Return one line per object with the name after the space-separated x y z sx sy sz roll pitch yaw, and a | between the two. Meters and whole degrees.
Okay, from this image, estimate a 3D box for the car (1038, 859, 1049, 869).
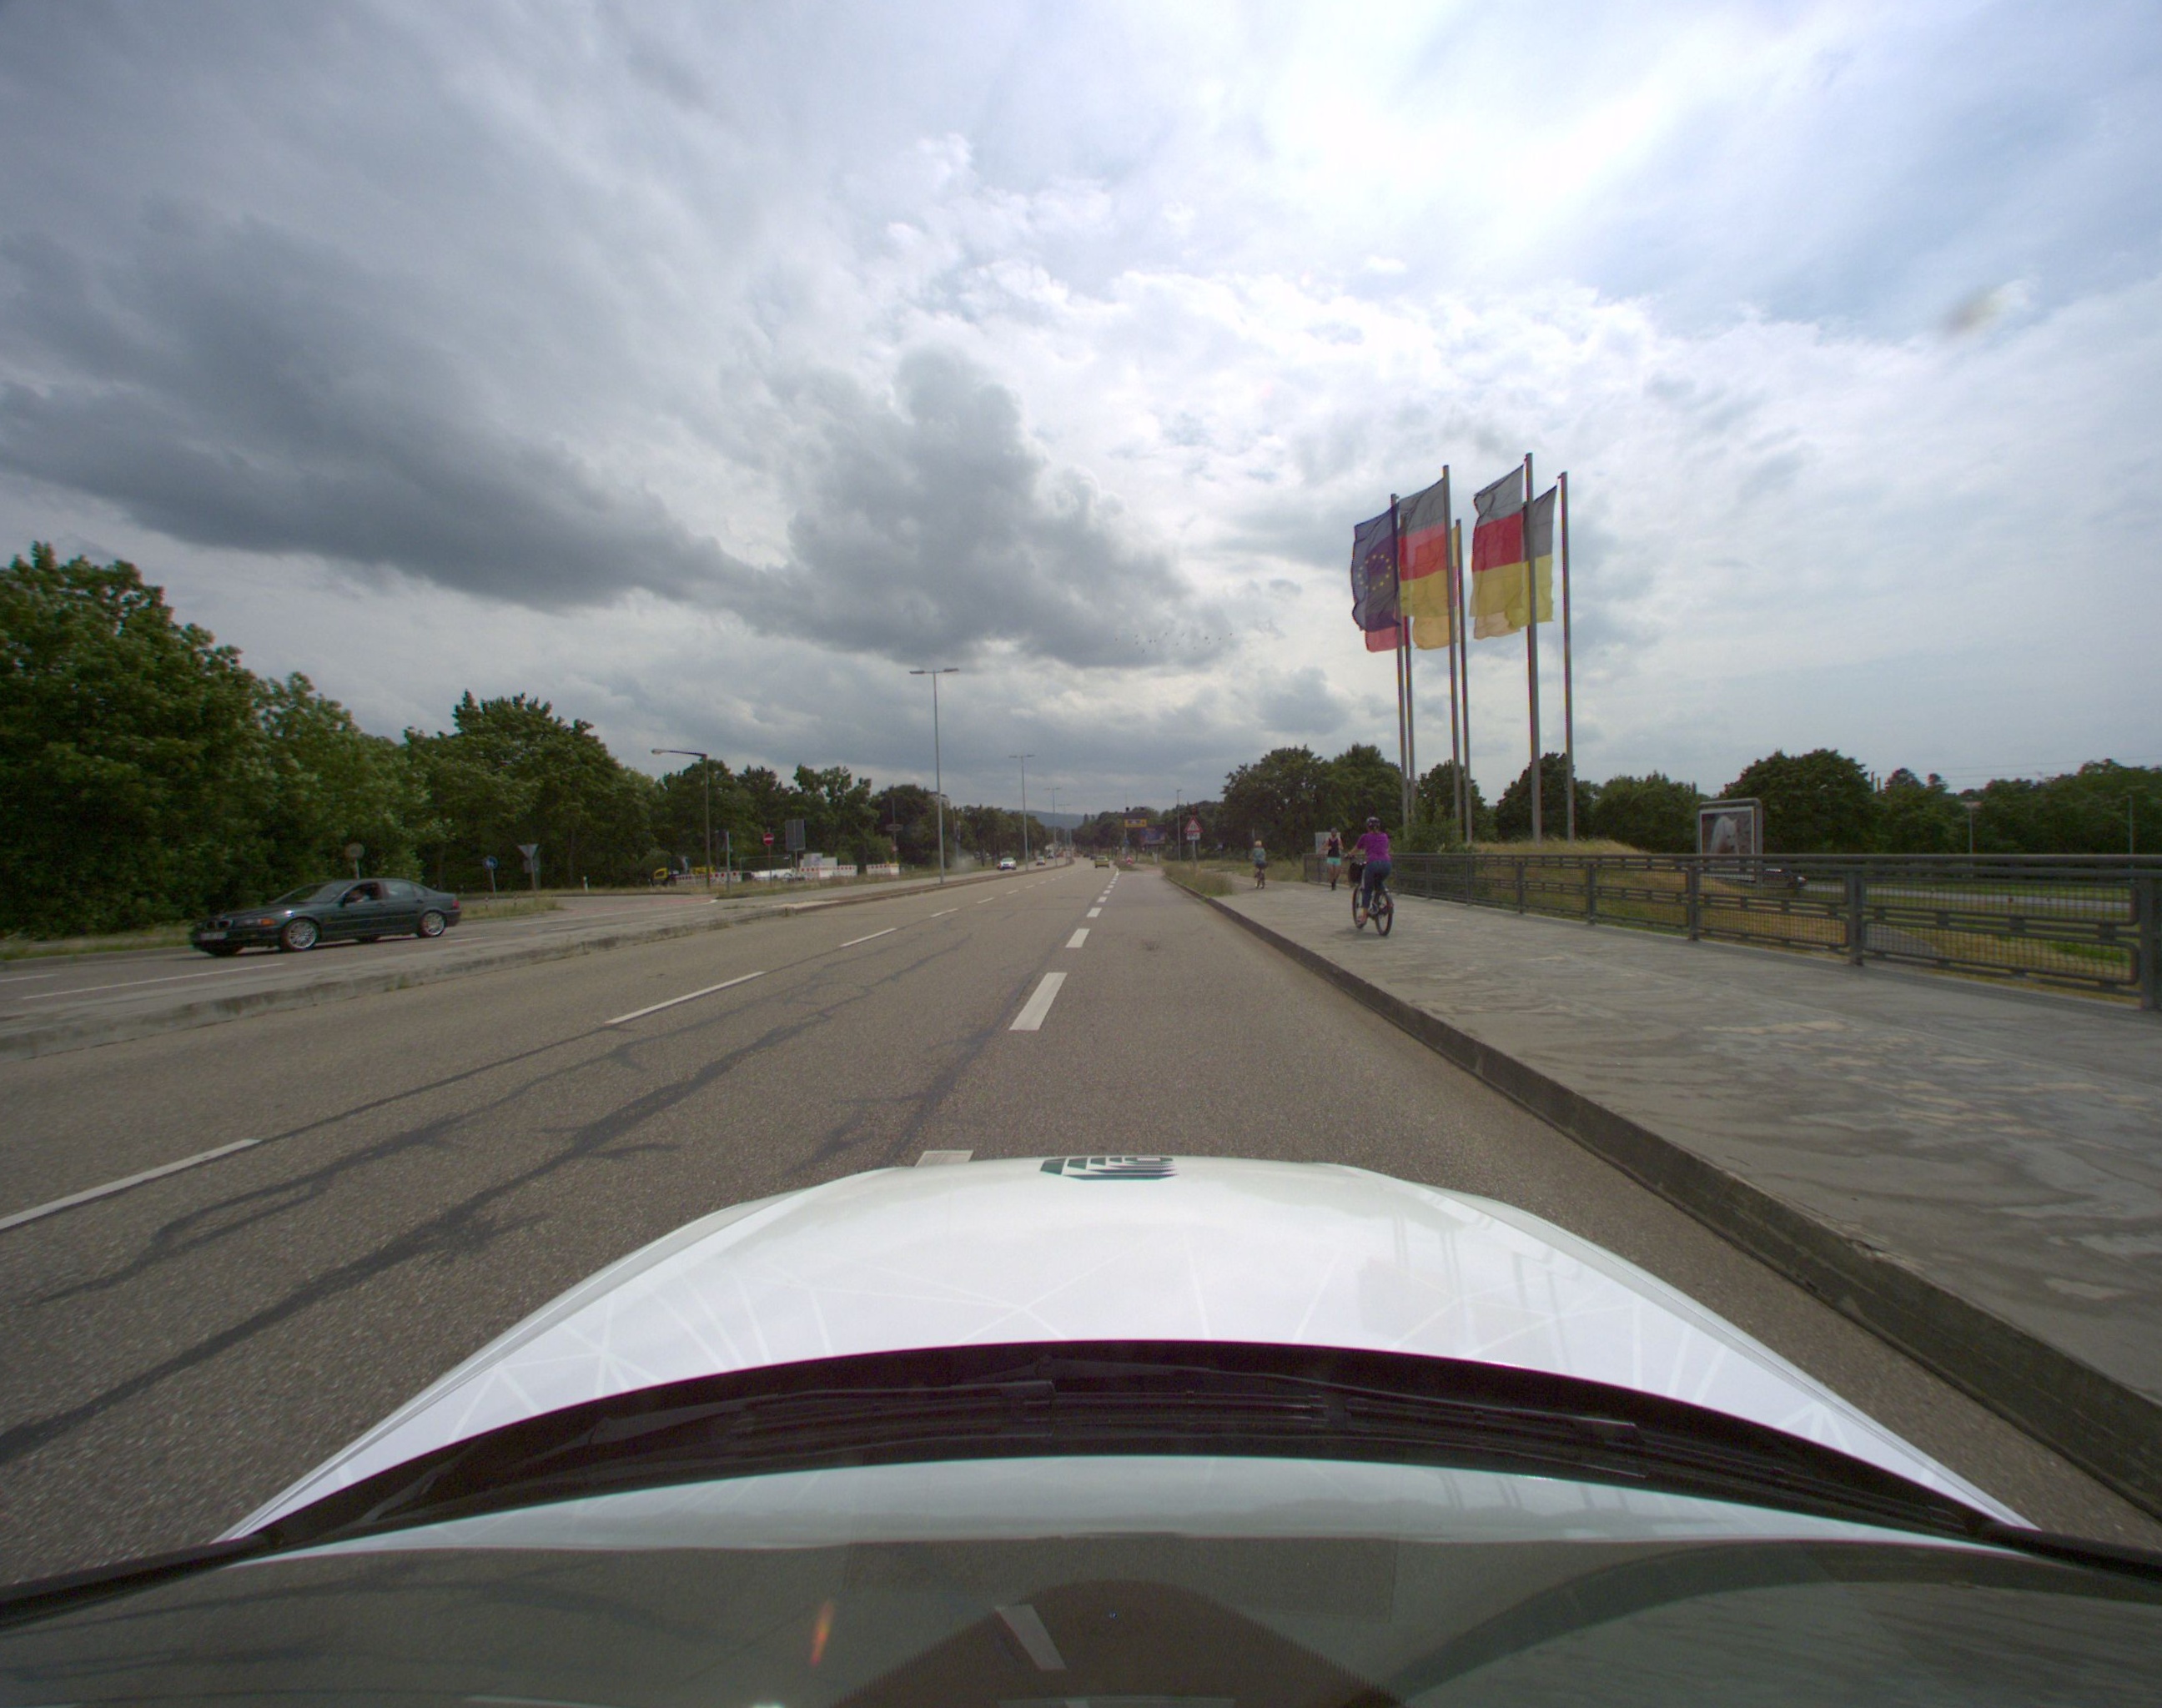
-7.564 2.075 165.464 1.895 1.809 4.541 -1 1 2 | car

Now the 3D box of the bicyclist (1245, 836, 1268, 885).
6.119 0.212 28.430 0.619 1.666 0.669 -1 0 1 | bicyclist

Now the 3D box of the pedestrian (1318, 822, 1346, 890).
7.588 0.044 24.663 0.624 2.013 0.668 -1 0 3 | pedestrian

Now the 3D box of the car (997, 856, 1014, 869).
-11.571 1.298 125.281 1.985 1.882 4.003 3 -1 3 | car

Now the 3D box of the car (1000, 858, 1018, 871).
-9.228 1.339 104.679 1.687 1.629 4.387 -1 1 3 | car

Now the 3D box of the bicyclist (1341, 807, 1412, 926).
4.549 0.186 12.598 0.700 1.755 0.991 -2 0 1 | bicyclist

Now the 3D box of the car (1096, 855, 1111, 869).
2.849 0.995 102.588 1.787 1.562 4.000 -1 1 0 | car

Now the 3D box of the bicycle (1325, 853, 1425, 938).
4.568 0.589 12.867 0.691 1.192 2.462 -2 0 1 | bicycle

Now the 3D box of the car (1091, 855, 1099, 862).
3.773 1.249 225.387 2.198 1.684 4.001 -1 1 1 | car

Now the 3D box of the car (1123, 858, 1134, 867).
9.782 1.750 166.322 2.007 1.670 4.000 -1 1 0 | car

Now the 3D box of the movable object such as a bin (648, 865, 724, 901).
-28.986 2.106 59.914 4.576 2.397 1.994 -1 0 -9 | movable object such as a bin

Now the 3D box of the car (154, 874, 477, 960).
-15.349 1.184 16.783 1.983 1.373 4.585 -3 -1 6 | car

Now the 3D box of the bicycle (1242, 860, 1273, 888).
6.146 0.687 28.444 0.621 0.888 2.155 -1 1 1 | bicycle
